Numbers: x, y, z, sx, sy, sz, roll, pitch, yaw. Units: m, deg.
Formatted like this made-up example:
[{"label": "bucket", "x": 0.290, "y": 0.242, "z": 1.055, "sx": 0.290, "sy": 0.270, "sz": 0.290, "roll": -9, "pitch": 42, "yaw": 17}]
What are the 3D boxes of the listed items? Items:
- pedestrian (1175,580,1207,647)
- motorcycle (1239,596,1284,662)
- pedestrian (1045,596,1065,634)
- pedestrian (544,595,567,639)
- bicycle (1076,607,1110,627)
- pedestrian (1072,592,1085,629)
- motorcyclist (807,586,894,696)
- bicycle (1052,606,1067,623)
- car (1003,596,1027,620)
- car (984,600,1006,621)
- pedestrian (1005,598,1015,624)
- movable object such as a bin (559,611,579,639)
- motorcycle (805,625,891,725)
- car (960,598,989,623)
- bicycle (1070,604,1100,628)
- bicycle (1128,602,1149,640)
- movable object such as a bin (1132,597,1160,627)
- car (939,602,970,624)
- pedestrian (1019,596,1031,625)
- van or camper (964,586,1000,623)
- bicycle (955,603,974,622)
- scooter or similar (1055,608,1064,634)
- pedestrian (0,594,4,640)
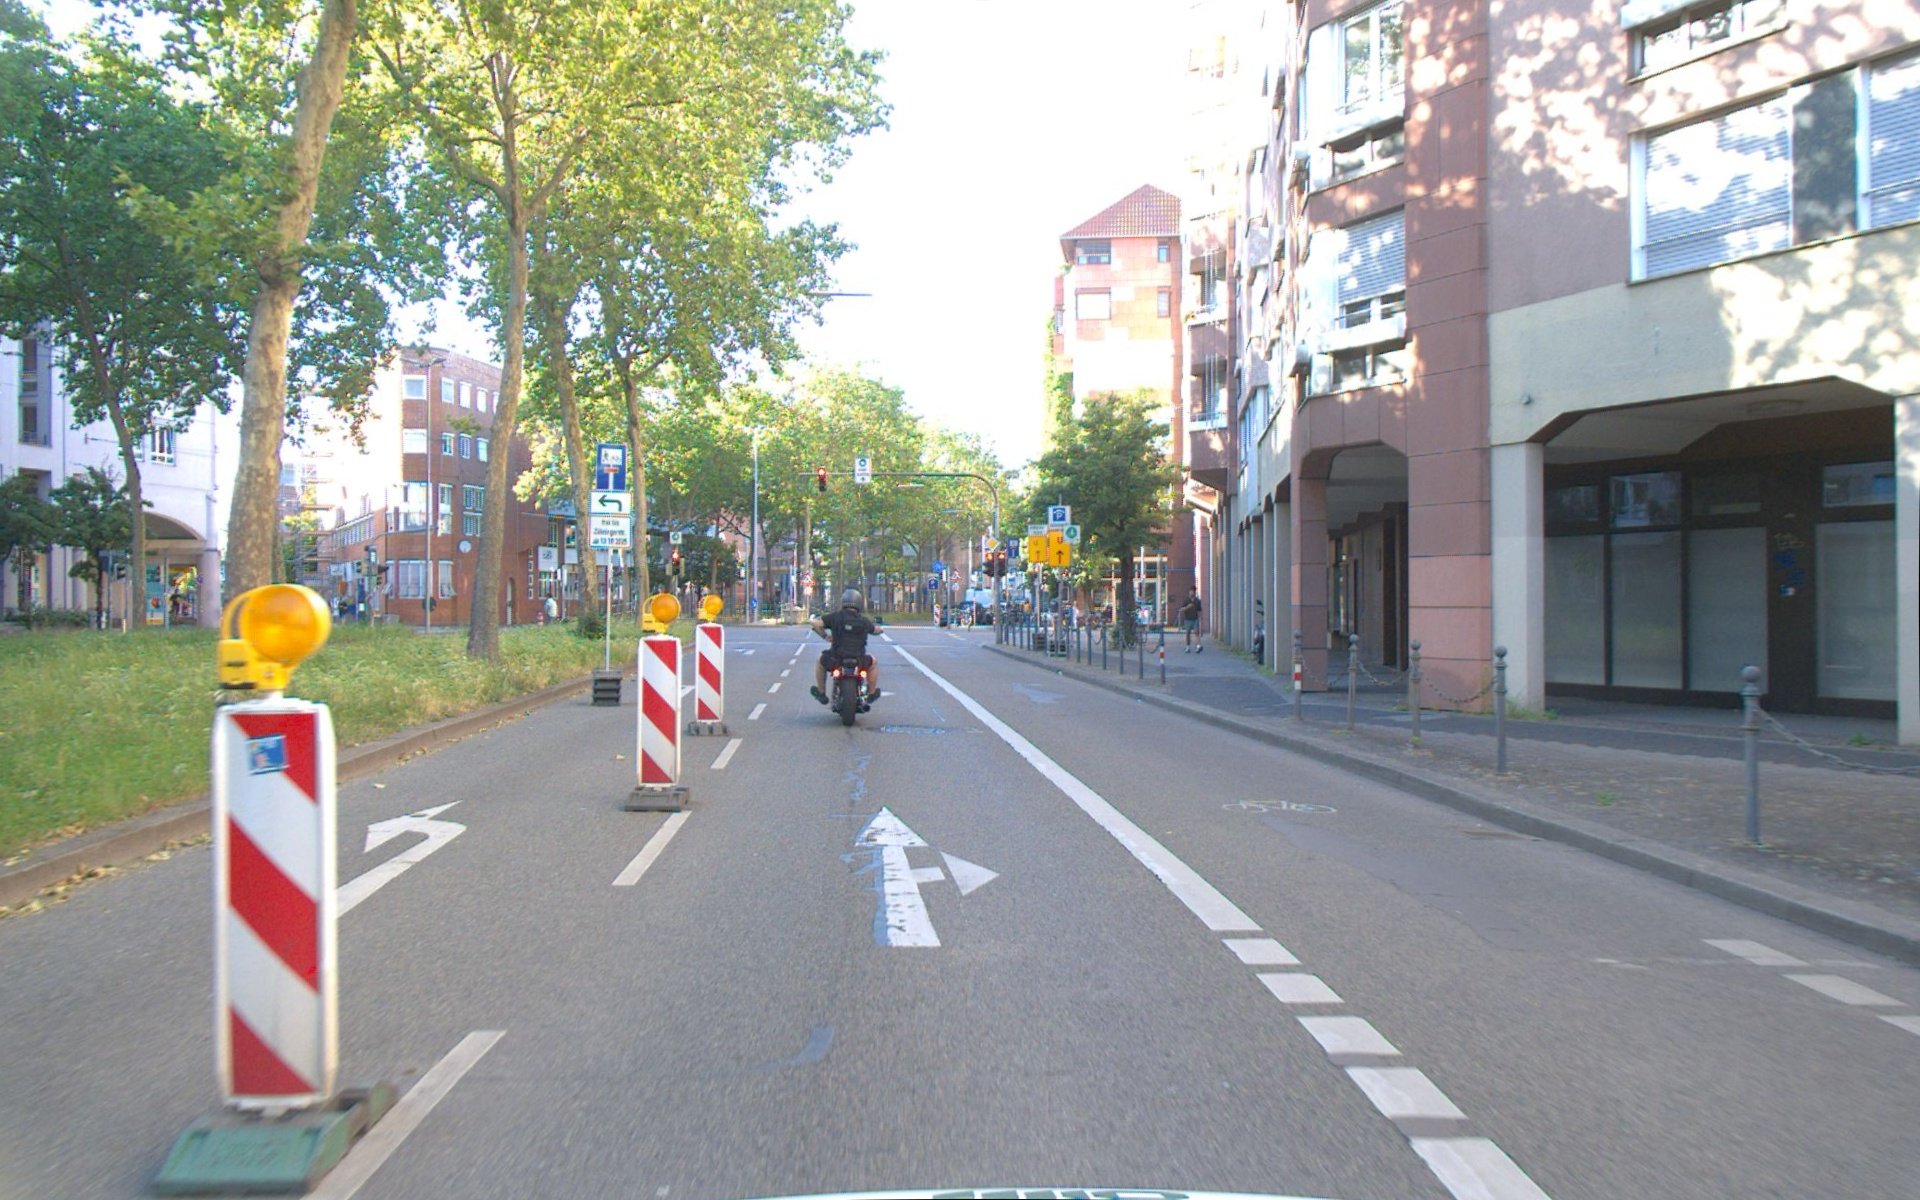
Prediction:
[{"label": "pedestrian", "x": 6.104, "y": 0.358, "z": 43.733, "sx": 0.764, "sy": 1.769, "sz": 0.837, "roll": 0, "pitch": 0, "yaw": 5}, {"label": "motorcycle", "x": 6.547, "y": 0.607, "z": 35.950, "sx": 0.478, "sy": 1.396, "sz": 2.089, "roll": 0, "pitch": 0, "yaw": -3}, {"label": "pedestrian", "x": 4.491, "y": 0.693, "z": 77.993, "sx": 0.775, "sy": 1.794, "sz": 0.605, "roll": 0, "pitch": 0, "yaw": -23}, {"label": "pedestrian", "x": -14.239, "y": 0.585, "z": 58.229, "sx": 0.605, "sy": 1.530, "sz": 0.535, "roll": 0, "pitch": 0, "yaw": 9}, {"label": "bicycle", "x": 7.199, "y": 0.913, "z": 89.399, "sx": 1.711, "sy": 1.071, "sz": 0.739, "roll": 0, "pitch": 0, "yaw": 24}, {"label": "pedestrian", "x": 5.570, "y": 0.488, "z": 77.809, "sx": 0.451, "sy": 1.702, "sz": 0.678, "roll": 0, "pitch": 0, "yaw": -12}, {"label": "motorcyclist", "x": -1.333, "y": 0.494, "z": 20.182, "sx": 0.992, "sy": 1.285, "sz": 0.773, "roll": 2, "pitch": 0, "yaw": -4}, {"label": "bicycle", "x": 5.668, "y": 0.836, "z": 94.383, "sx": 0.722, "sy": 0.956, "sz": 1.752, "roll": 0, "pitch": 0, "yaw": 0}, {"label": "car", "x": 4.751, "y": 0.691, "z": 142.559, "sx": 1.796, "sy": 2.049, "sz": 4.391, "roll": 0, "pitch": 0, "yaw": 5}, {"label": "car", "x": 2.805, "y": 0.800, "z": 131.327, "sx": 1.586, "sy": 1.638, "sz": 3.776, "roll": 0, "pitch": 0, "yaw": 4}, {"label": "pedestrian", "x": 3.080, "y": 0.676, "z": 101.828, "sx": 0.631, "sy": 1.606, "sz": 0.748, "roll": 0, "pitch": 0, "yaw": 0}, {"label": "movable object such as a bin", "x": -13.814, "y": 0.890, "z": 58.427, "sx": 0.499, "sy": 0.970, "sz": 0.540, "roll": 0, "pitch": 0, "yaw": 9}, {"label": "motorcycle", "x": -1.369, "y": 0.886, "z": 20.168, "sx": 0.998, "sy": 1.116, "sz": 2.006, "roll": 0, "pitch": 0, "yaw": -4}, {"label": "car", "x": 1.018, "y": 0.671, "z": 111.753, "sx": 1.586, "sy": 1.648, "sz": 4.488, "roll": 0, "pitch": 0, "yaw": 6}, {"label": "bicycle", "x": 6.485, "y": 0.847, "z": 86.068, "sx": 1.534, "sy": 1.248, "sz": 0.578, "roll": 0, "pitch": 0, "yaw": 2}, {"label": "bicycle", "x": 5.904, "y": 0.682, "z": 54.763, "sx": 0.608, "sy": 1.247, "sz": 1.928, "roll": 0, "pitch": 0, "yaw": 9}, {"label": "movable object such as a bin", "x": 9.379, "y": 0.609, "z": 83.413, "sx": 1.380, "sy": 1.508, "sz": 0.872, "roll": 0, "pitch": 0, "yaw": 8}, {"label": "car", "x": -0.319, "y": 0.814, "z": 101.726, "sx": 1.586, "sy": 1.325, "sz": 4.314, "roll": 0, "pitch": 0, "yaw": 5}, {"label": "pedestrian", "x": 3.981, "y": 0.640, "z": 101.767, "sx": 0.686, "sy": 1.764, "sz": 0.767, "roll": 0, "pitch": 0, "yaw": 0}, {"label": "van or camper", "x": 1.593, "y": 0.326, "z": 118.183, "sx": 2.005, "sy": 2.585, "sz": 5.777, "roll": 0, "pitch": 0, "yaw": 6}, {"label": "bicycle", "x": 0.264, "y": 0.733, "z": 94.664, "sx": 0.724, "sy": 1.071, "sz": 1.746, "roll": 0, "pitch": 0, "yaw": -13}, {"label": "scooter or similar", "x": 4.672, "y": 0.975, "z": 77.803, "sx": 0.386, "sy": 1.178, "sz": 1.250, "roll": 0, "pitch": 0, "yaw": 2}, {"label": "pedestrian", "x": -34.727, "y": 0.617, "z": 59.072, "sx": 0.692, "sy": 1.667, "sz": 0.789, "roll": 0, "pitch": 0, "yaw": 7}]
